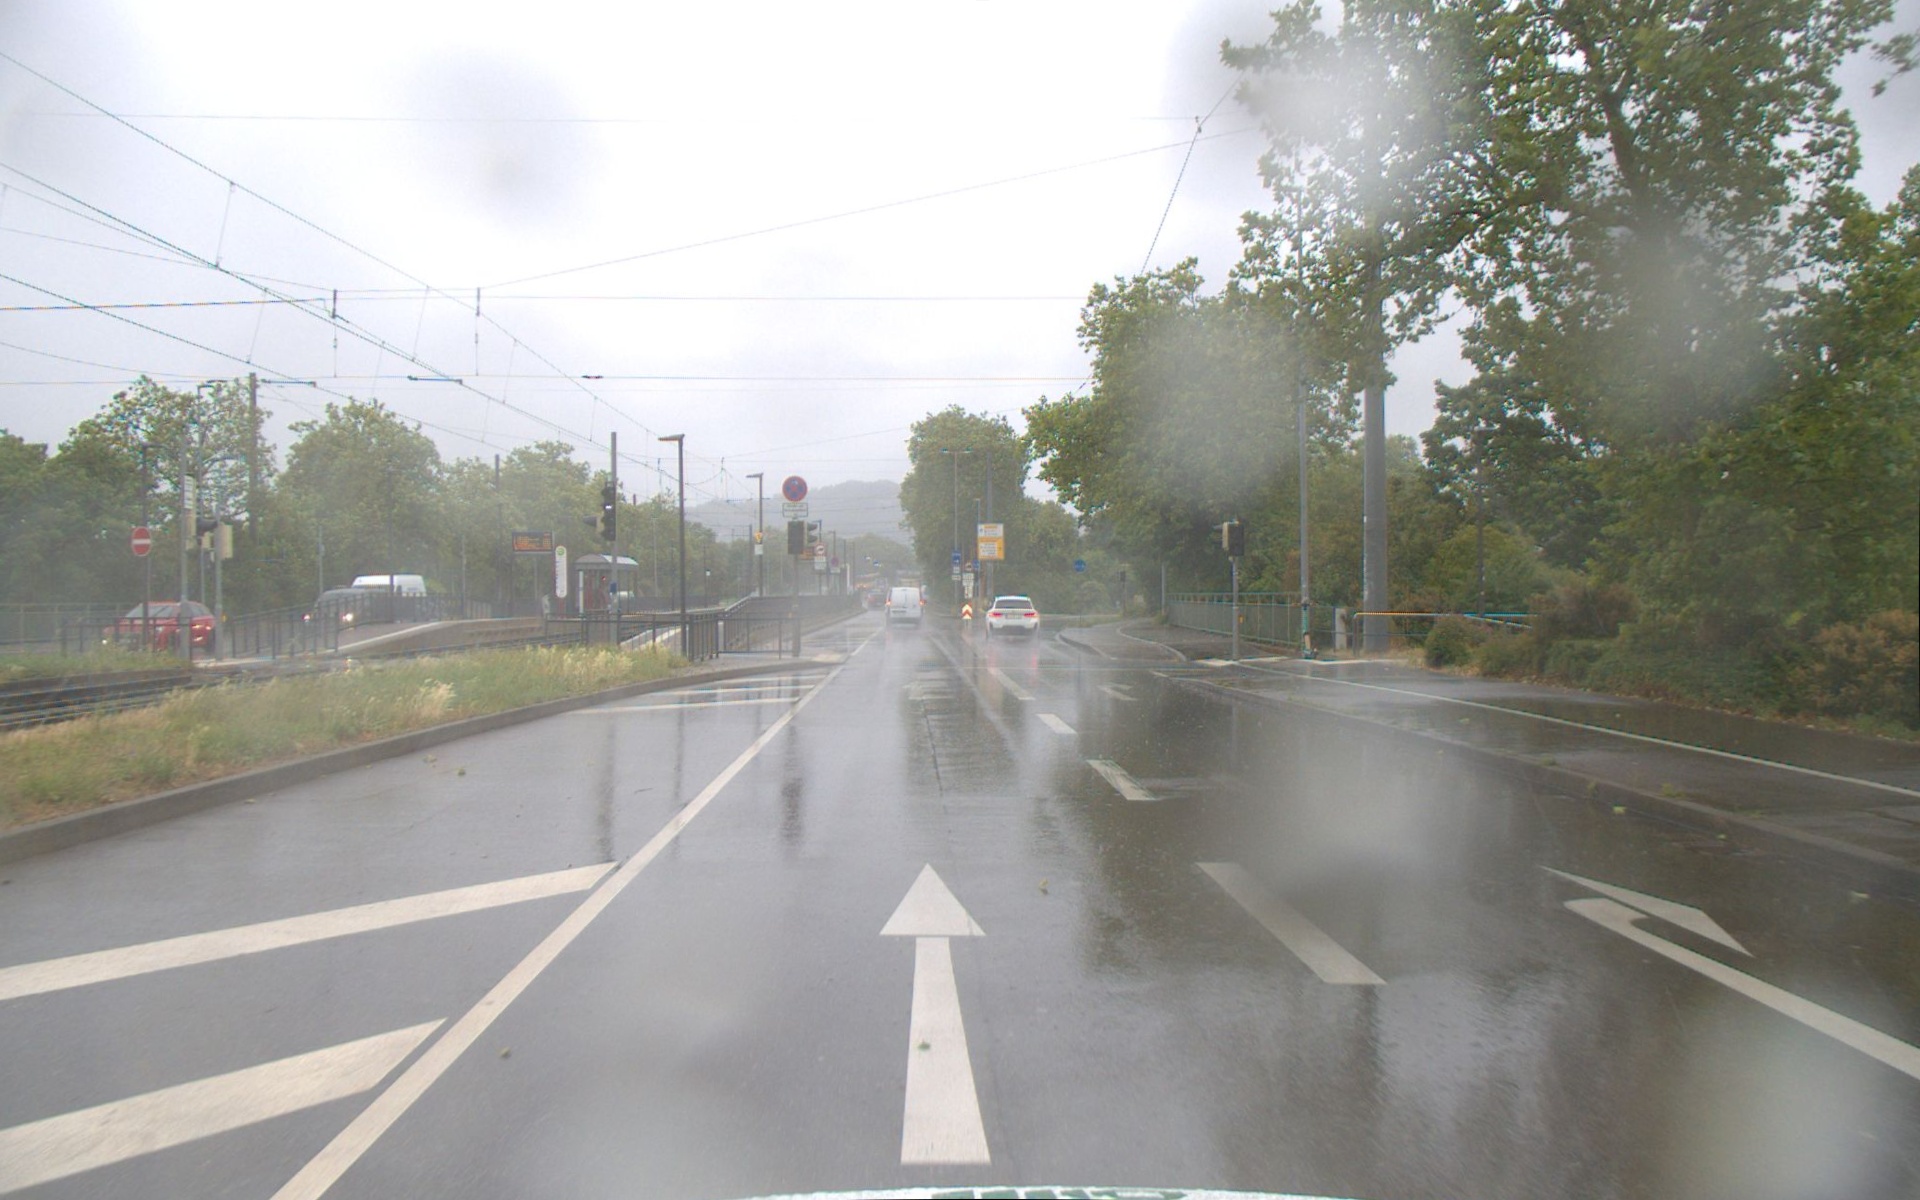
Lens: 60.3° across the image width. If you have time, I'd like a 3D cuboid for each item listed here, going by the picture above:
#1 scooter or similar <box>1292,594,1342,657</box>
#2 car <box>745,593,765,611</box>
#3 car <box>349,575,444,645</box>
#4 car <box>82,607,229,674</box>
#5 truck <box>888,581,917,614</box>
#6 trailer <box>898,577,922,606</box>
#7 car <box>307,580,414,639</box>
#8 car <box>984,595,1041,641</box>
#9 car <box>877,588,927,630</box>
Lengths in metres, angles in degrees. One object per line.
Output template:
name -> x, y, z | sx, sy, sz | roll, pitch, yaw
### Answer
scooter or similar -> 7.649, 0.541, 35.504 | 0.743, 1.315, 1.647 | 0, 0, 1
car -> -23.688, 0.248, 191.108 | 1.953, 2.049, 3.999 | 0, 0, -1
car -> -23.044, 0.379, 67.883 | 2.077, 2.760, 5.737 | 0, 0, -1
car -> -22.551, 1.096, 46.569 | 1.953, 1.736, 4.624 | 0, 0, -1
truck -> -6.735, -0.255, 191.574 | 2.722, 3.769, 9.840 | 0, 0, -6
trailer -> -4.808, -0.806, 160.352 | 2.121, 2.806, 5.676 | 0, 0, 0
car -> -19.134, 0.289, 52.976 | 1.953, 1.803, 4.257 | 0, 0, -1
car -> 1.764, 0.577, 55.888 | 1.849, 1.456, 4.001 | 0, 0, 1
car -> -2.705, 0.395, 76.311 | 1.956, 1.881, 3.994 | 0, 0, -7
